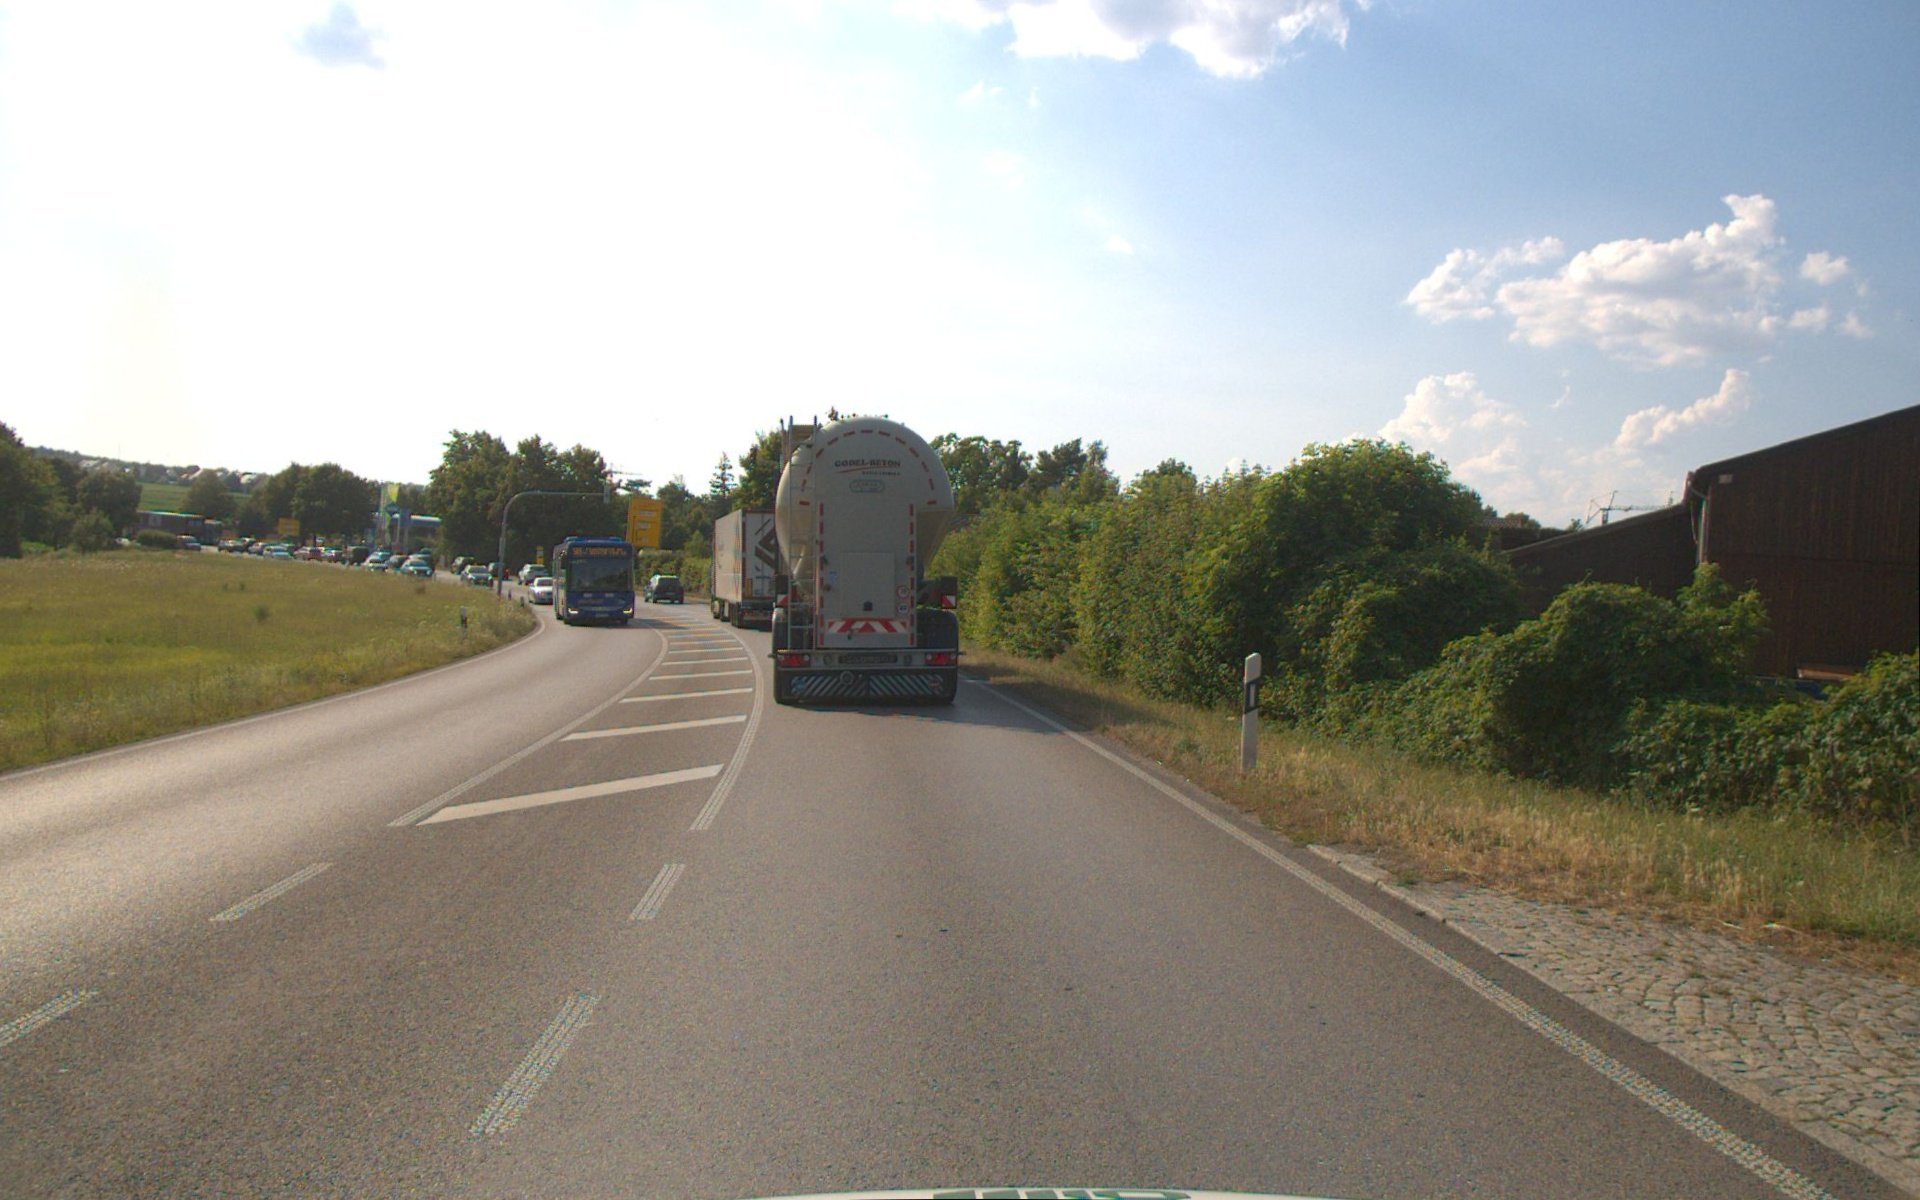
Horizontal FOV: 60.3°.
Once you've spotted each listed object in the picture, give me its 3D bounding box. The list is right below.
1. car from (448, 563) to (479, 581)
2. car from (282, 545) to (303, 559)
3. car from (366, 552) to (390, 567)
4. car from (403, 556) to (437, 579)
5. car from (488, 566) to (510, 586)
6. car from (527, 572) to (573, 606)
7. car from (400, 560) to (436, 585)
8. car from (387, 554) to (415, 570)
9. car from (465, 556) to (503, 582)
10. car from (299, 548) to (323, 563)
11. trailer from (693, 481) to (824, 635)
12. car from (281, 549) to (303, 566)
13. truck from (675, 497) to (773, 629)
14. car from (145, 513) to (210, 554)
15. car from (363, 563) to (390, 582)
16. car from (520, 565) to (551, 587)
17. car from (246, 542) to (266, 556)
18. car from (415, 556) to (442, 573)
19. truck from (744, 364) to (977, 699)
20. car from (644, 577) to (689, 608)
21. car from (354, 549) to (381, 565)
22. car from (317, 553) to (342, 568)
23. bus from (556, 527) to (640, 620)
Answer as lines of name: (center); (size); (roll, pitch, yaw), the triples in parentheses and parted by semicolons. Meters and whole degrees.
car: (-48.343, -2.762, 161.108); (2.062, 1.627, 3.962); (2, 1, -29)
car: (-79.244, -5.695, 196.434); (1.861, 1.627, 3.963); (2, 1, -28)
car: (-64.769, -4.517, 184.147); (1.861, 1.627, 3.962); (2, 1, -29)
car: (-44.346, -2.661, 135.675); (1.970, 1.755, 4.388); (1, 1, -27)
car: (-41.314, -2.145, 148.205); (1.498, 1.685, 3.847); (2, -1, -22)
car: (-21.870, -0.575, 88.197); (1.816, 1.685, 3.973); (2, -1, -22)
car: (-38.046, -1.922, 116.098); (1.819, 1.685, 3.965); (2, -1, -27)
car: (-57.060, -3.878, 168.888); (2.062, 1.627, 3.962); (2, 1, -29)
car: (-33.353, -2.132, 115.829); (1.819, 1.685, 3.965); (2, -1, -27)
car: (-75.198, -5.179, 191.572); (1.863, 1.627, 3.957); (2, 1, -32)
trailer: (-7.414, -1.345, 59.325); (2.917, 4.967, 10.240); (1, -1, -16)
car: (-72.746, -4.654, 180.057); (1.820, 1.685, 3.963); (2, -1, -28)
truck: (-9.564, -1.404, 66.507); (2.915, 4.972, 6.401); (1, -1, -16)
car: (-103.397, -8.719, 218.414); (3.527, 5.147, 13.023); (1, 1, -45)
car: (-53.643, -2.496, 152.026); (1.819, 1.685, 3.965); (2, -1, -27)
car: (-33.935, -1.907, 132.181); (1.815, 1.685, 3.973); (2, -1, -22)
car: (-85.915, -6.204, 201.835); (1.861, 1.627, 3.963); (2, 1, -28)
car: (-52.114, -3.489, 162.154); (1.861, 1.627, 3.963); (2, 1, -28)
truck: (-1.815, -0.827, 27.199); (2.918, 4.248, 11.648); (1, -1, -5)
car: (-16.775, -0.440, 94.543); (1.963, 1.685, 3.979); (2, -1, -18)
car: (-63.188, -4.556, 176.410); (2.062, 1.627, 3.962); (2, 1, -29)
car: (-70.926, -4.483, 186.031); (2.063, 1.627, 3.960); (2, 1, -30)
bus: (-14.280, -0.907, 64.542); (2.747, 3.237, 12.080); (1, -1, -14)
